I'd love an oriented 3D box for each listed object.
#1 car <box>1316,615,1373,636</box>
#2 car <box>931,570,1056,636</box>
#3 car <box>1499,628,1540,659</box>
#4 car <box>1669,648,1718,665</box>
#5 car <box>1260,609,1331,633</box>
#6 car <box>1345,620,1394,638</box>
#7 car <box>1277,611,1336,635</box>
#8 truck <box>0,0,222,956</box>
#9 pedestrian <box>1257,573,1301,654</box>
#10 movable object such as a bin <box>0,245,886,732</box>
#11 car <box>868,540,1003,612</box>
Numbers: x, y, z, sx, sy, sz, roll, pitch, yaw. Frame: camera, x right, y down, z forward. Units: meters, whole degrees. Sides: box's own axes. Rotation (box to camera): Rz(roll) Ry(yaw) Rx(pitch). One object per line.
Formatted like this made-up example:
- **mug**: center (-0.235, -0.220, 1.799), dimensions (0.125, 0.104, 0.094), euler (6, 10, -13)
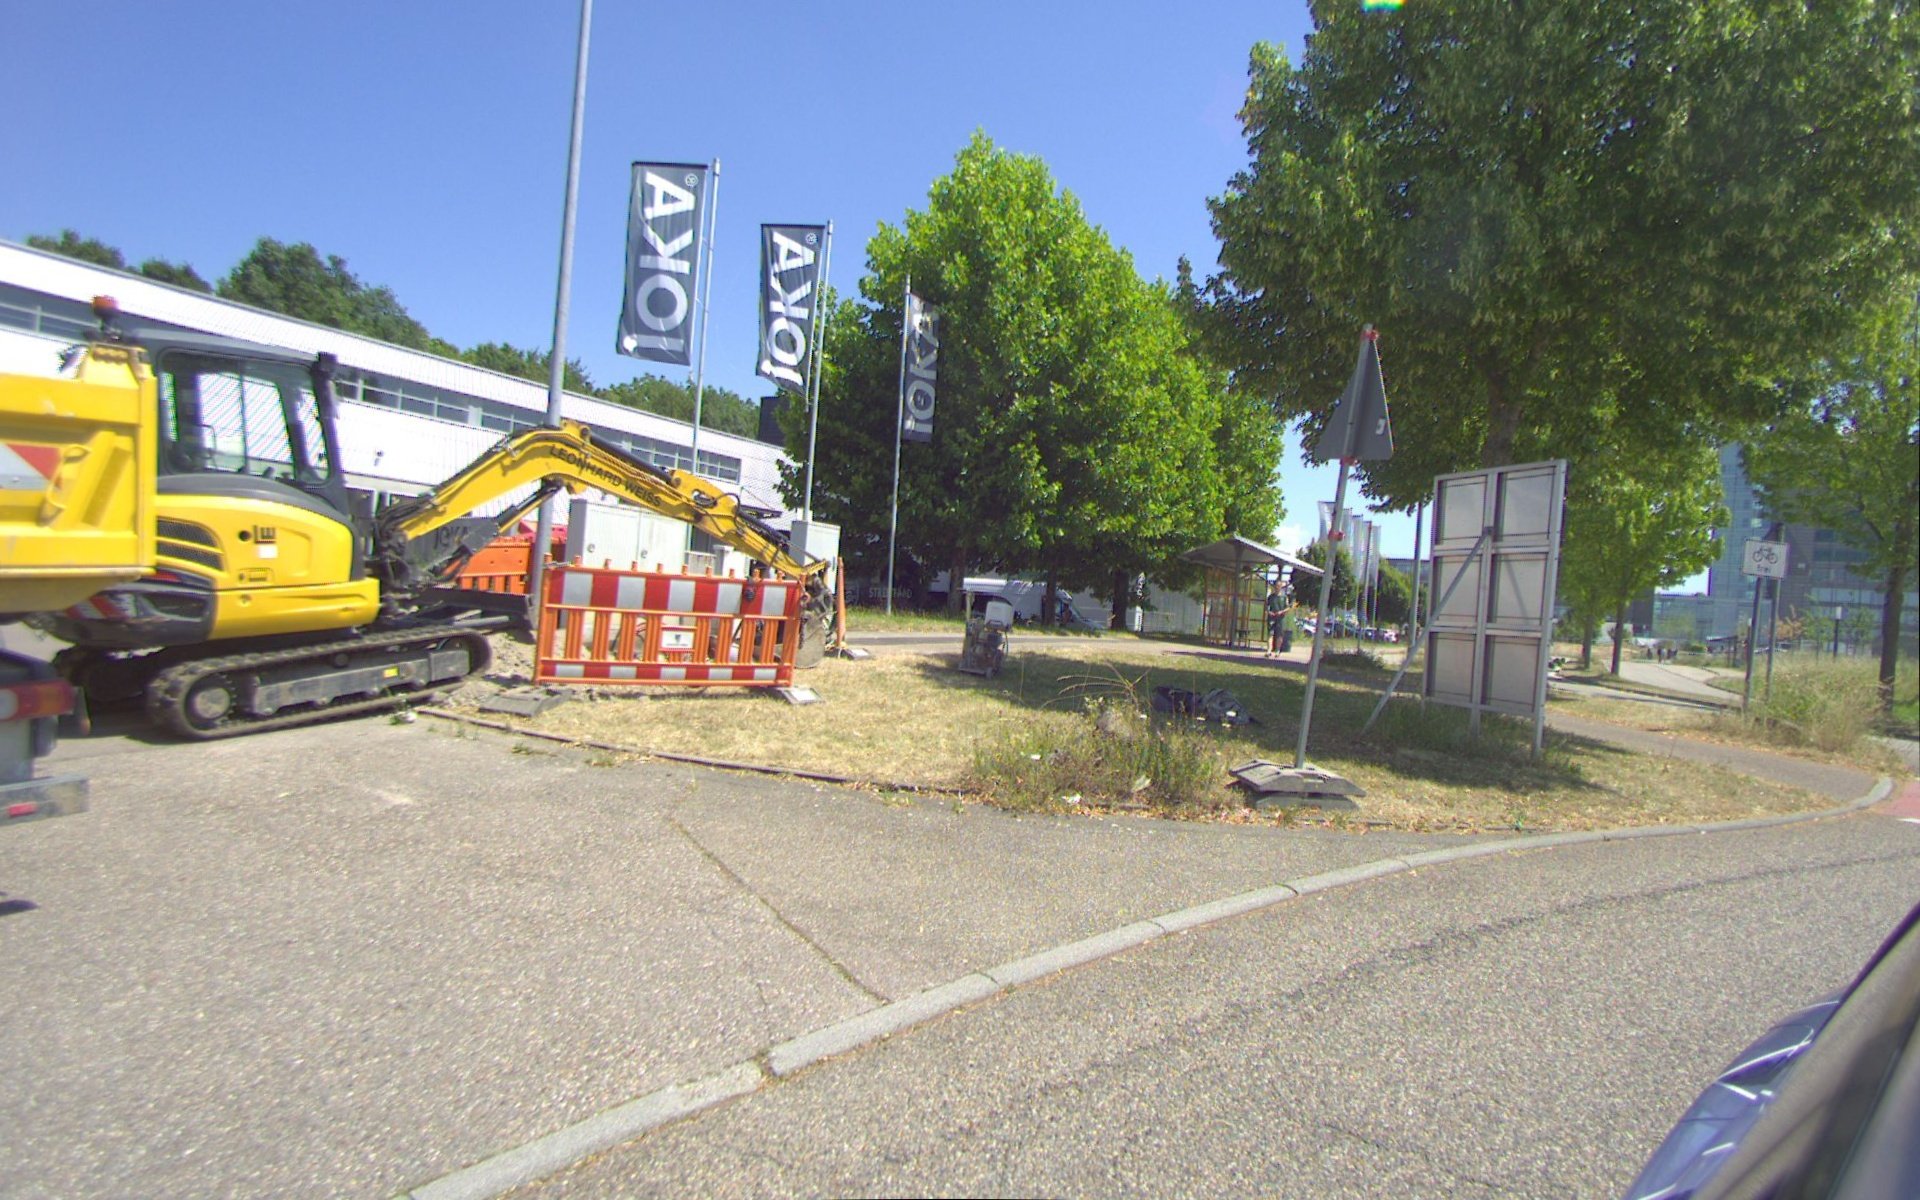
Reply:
- **car**: center (30.418, 2.013, 80.100), dimensions (3.864, 1.289, 1.686), euler (5, 1, 32)
- **car**: center (1.244, 0.102, 37.528), dimensions (4.217, 2.039, 1.537), euler (5, -2, 22)
- **car**: center (32.491, 2.540, 58.716), dimensions (1.670, 1.524, 3.526), euler (4, -3, 35)
- **car**: center (73.148, 5.618, 100.988), dimensions (3.816, 1.289, 1.591), euler (5, 1, 32)
- **car**: center (22.482, 1.375, 67.798), dimensions (4.245, 1.197, 1.476), euler (4, -2, 32)
- **car**: center (37.614, 2.658, 92.940), dimensions (3.864, 1.289, 1.686), euler (5, 1, 32)
- **car**: center (24.809, 1.664, 72.511), dimensions (3.640, 1.342, 1.637), euler (4, -2, 32)
- **truck**: center (-5.984, -0.772, 3.921), dimensions (6.371, 3.173, 2.569), euler (6, 3, 29)
- **pedestrian**: center (6.886, 0.279, 21.855), dimensions (0.520, 1.691, 0.580), euler (7, -3, -30)
- **movable object such as a bin**: center (-3.576, -0.628, 8.642), dimensions (1.990, 2.612, 6.489), euler (5, 2, 37)
- **car**: center (-0.629, -0.650, 28.893), dimensions (1.829, 1.749, 3.950), euler (5, 1, 34)
